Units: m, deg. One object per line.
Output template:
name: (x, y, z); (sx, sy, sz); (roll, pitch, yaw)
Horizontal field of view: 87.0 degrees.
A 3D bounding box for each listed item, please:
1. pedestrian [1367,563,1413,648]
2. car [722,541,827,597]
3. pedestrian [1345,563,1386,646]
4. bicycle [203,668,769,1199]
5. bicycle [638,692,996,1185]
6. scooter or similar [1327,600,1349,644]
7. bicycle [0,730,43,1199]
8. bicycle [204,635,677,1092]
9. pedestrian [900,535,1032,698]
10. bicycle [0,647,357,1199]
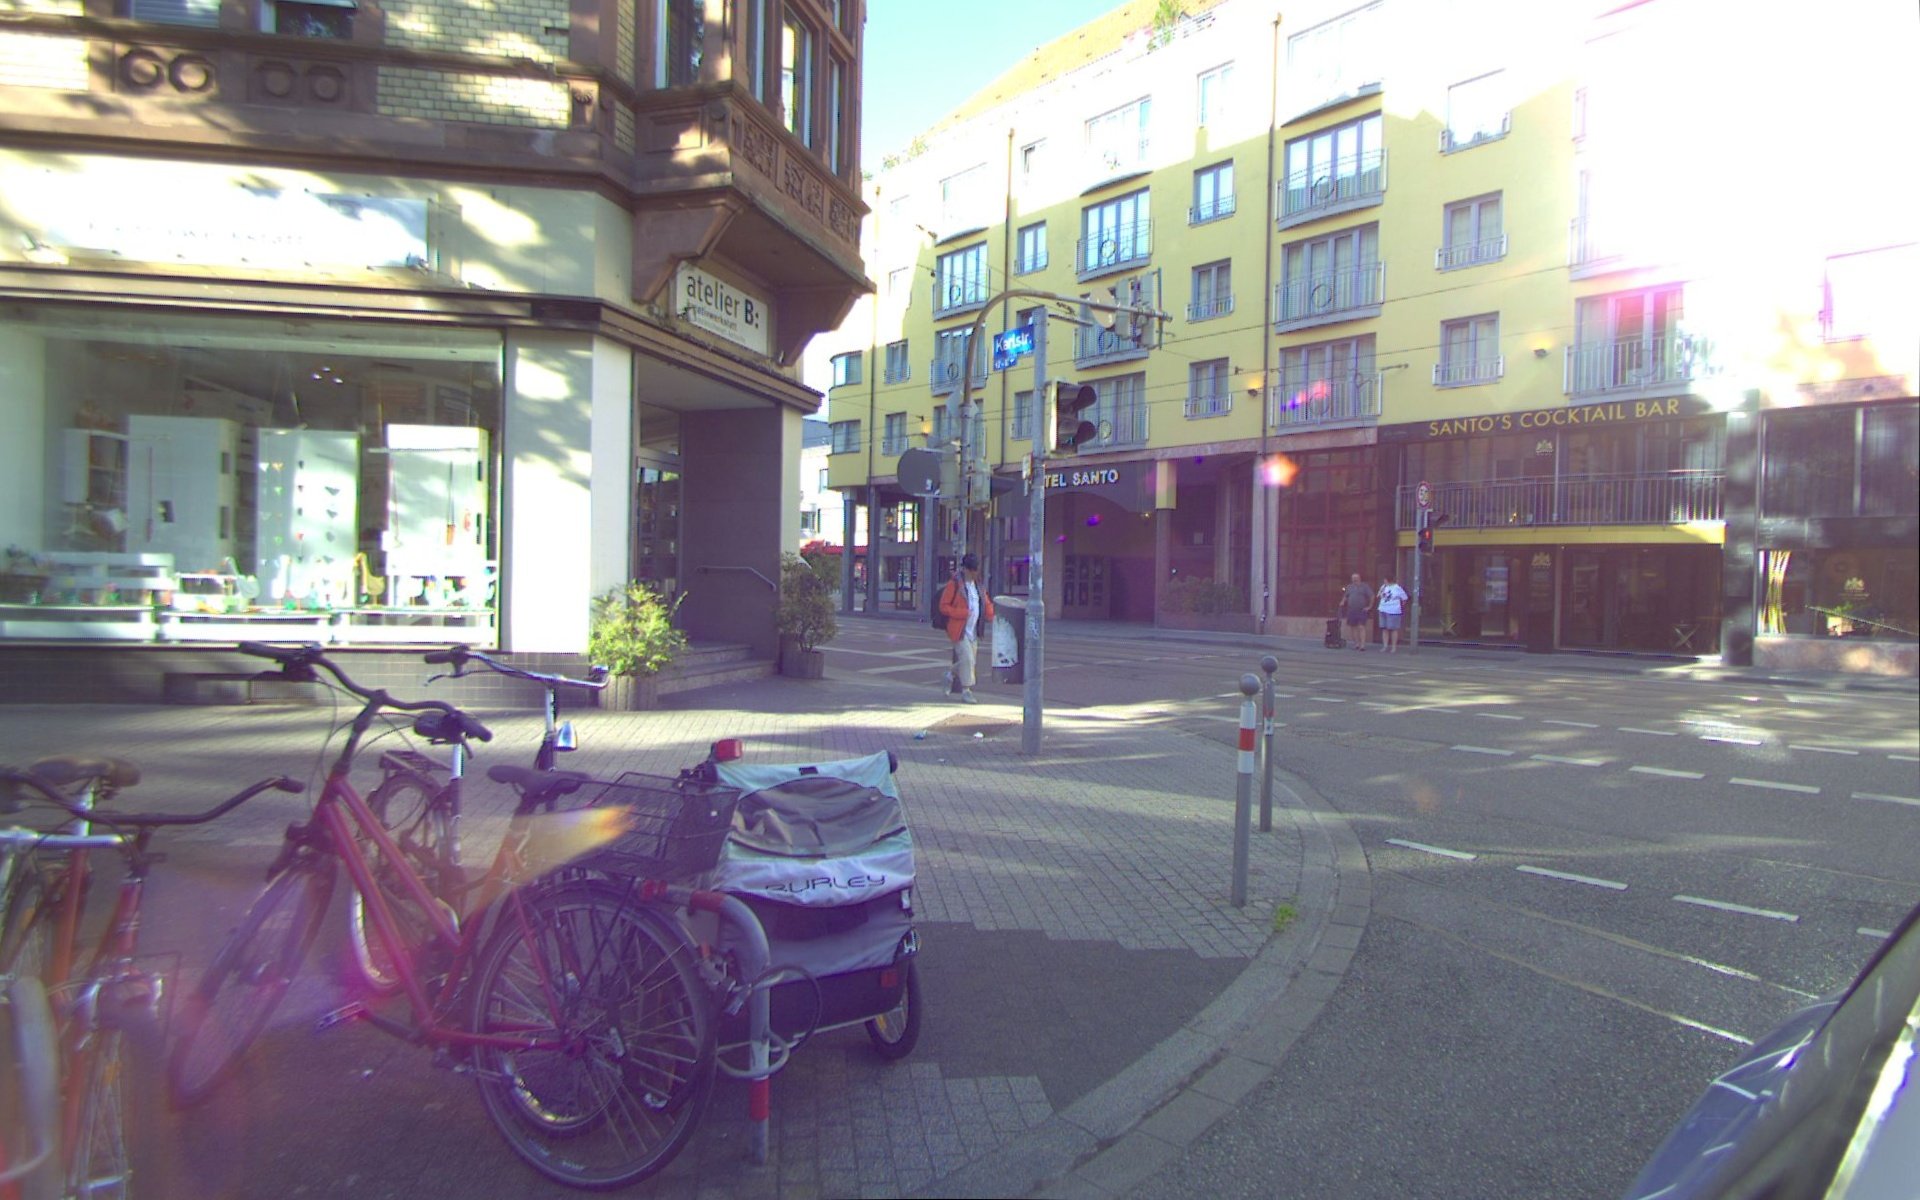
pedestrian: (9.784, 0.115, 23.020); (0.715, 1.862, 0.734); (-4, 4, -43)
car: (-9.718, -1.608, 53.240); (5.060, 2.792, 2.056); (0, 1, -42)
pedestrian: (9.546, 0.088, 23.814); (0.715, 1.862, 0.677); (-4, 4, -43)
bicycle: (-1.227, 0.802, 2.578); (1.460, 1.106, 0.422); (3, 4, 22)
bicycle: (-0.472, 0.860, 3.016); (0.723, 1.039, 1.001); (1, 1, -30)
scooter or similar: (8.970, 0.519, 24.026); (0.356, 0.989, 0.416); (2, 4, 45)
bicycle: (-2.247, 0.780, 2.055); (1.930, 1.106, 0.418); (5, 5, 43)
bicycle: (-1.687, 0.734, 3.282); (1.461, 1.106, 0.570); (3, 4, 24)
pedestrian: (0.079, 0.151, 11.298); (1.160, 1.701, 1.000); (2, 1, 23)
bicycle: (-1.952, 0.770, 2.363); (1.930, 1.106, 0.418); (5, 5, 43)
